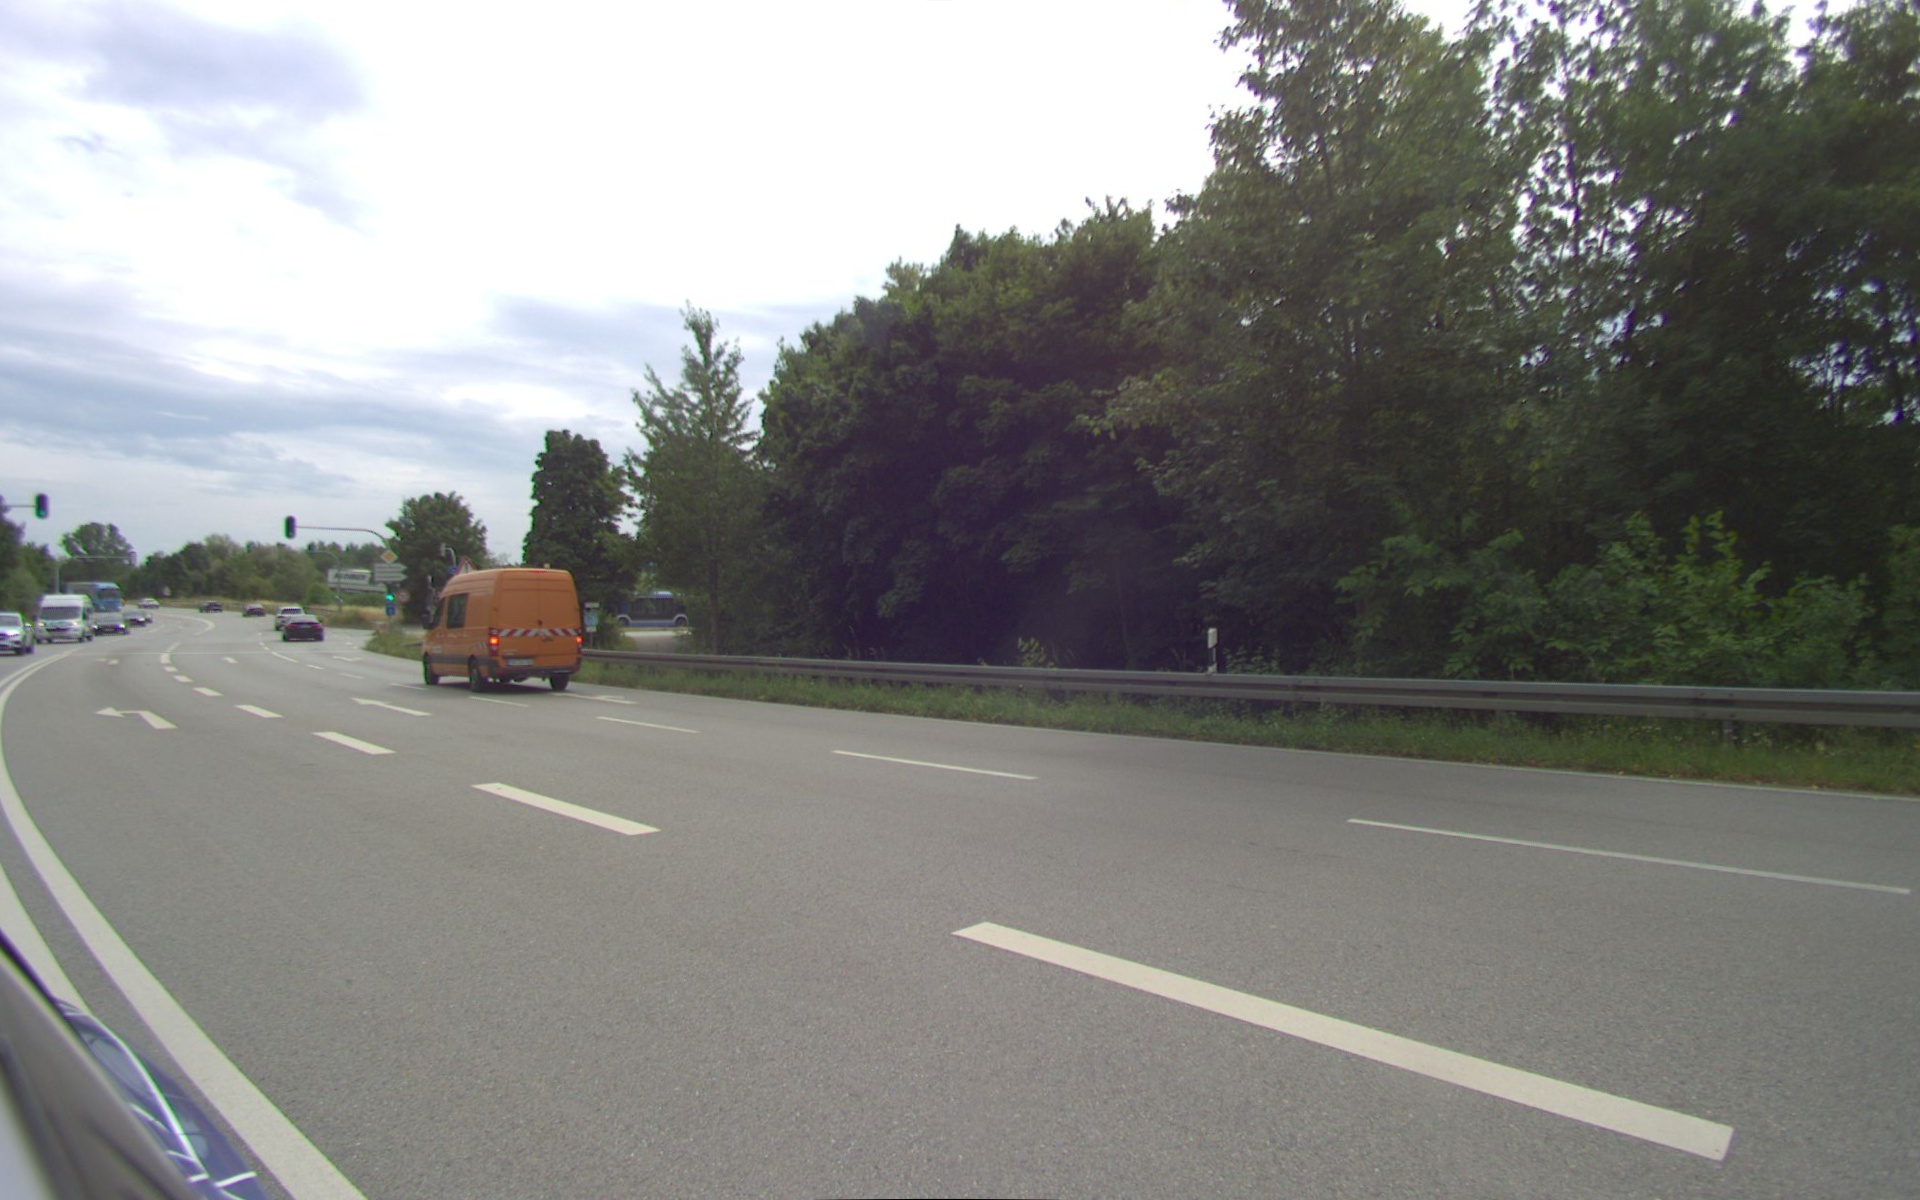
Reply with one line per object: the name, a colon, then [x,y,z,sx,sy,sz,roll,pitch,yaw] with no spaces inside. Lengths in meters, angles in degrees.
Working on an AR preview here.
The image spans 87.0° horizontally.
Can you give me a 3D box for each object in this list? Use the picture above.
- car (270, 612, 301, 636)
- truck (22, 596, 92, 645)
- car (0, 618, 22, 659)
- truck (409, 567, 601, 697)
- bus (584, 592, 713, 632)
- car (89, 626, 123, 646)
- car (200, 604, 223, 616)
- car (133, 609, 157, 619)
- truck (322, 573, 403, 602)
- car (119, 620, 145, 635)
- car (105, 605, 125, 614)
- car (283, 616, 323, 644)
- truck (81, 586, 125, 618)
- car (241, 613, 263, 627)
car: [-49.291,1.763,73.926,1.833,1.656,4.749,1,-2,-34]
truck: [-51.050,1.158,57.338,2.341,2.613,6.013,1,-1,-36]
car: [-37.128,1.441,38.690,1.800,1.509,4.229,2,-2,-43]
truck: [-10.635,0.740,23.353,2.288,2.621,6.030,1,-2,-42]
bus: [-25.563,0.956,83.468,3.123,3.069,9.928,-1,-1,44]
car: [-60.048,2.509,71.126,1.718,1.335,4.006,3,-3,-41]
car: [-99.826,1.324,134.889,3.999,1.396,1.721,0,1,42]
car: [-121.933,2.077,151.430,3.992,1.497,1.725,-1,1,36]
truck: [-105.745,-2.240,179.074,14.084,4.357,3.346,3,1,16]
car: [-75.362,2.533,92.148,1.717,1.335,4.008,3,-3,-38]
car: [-137.230,1.556,164.348,3.995,1.396,1.723,0,2,38]
car: [-36.942,1.668,56.832,1.694,1.509,4.559,1,-2,-35]
truck: [-122.346,0.303,144.423,9.561,4.383,2.989,-1,-1,39]
car: [-80.848,2.242,115.519,1.718,1.497,4.207,0,0,-41]
